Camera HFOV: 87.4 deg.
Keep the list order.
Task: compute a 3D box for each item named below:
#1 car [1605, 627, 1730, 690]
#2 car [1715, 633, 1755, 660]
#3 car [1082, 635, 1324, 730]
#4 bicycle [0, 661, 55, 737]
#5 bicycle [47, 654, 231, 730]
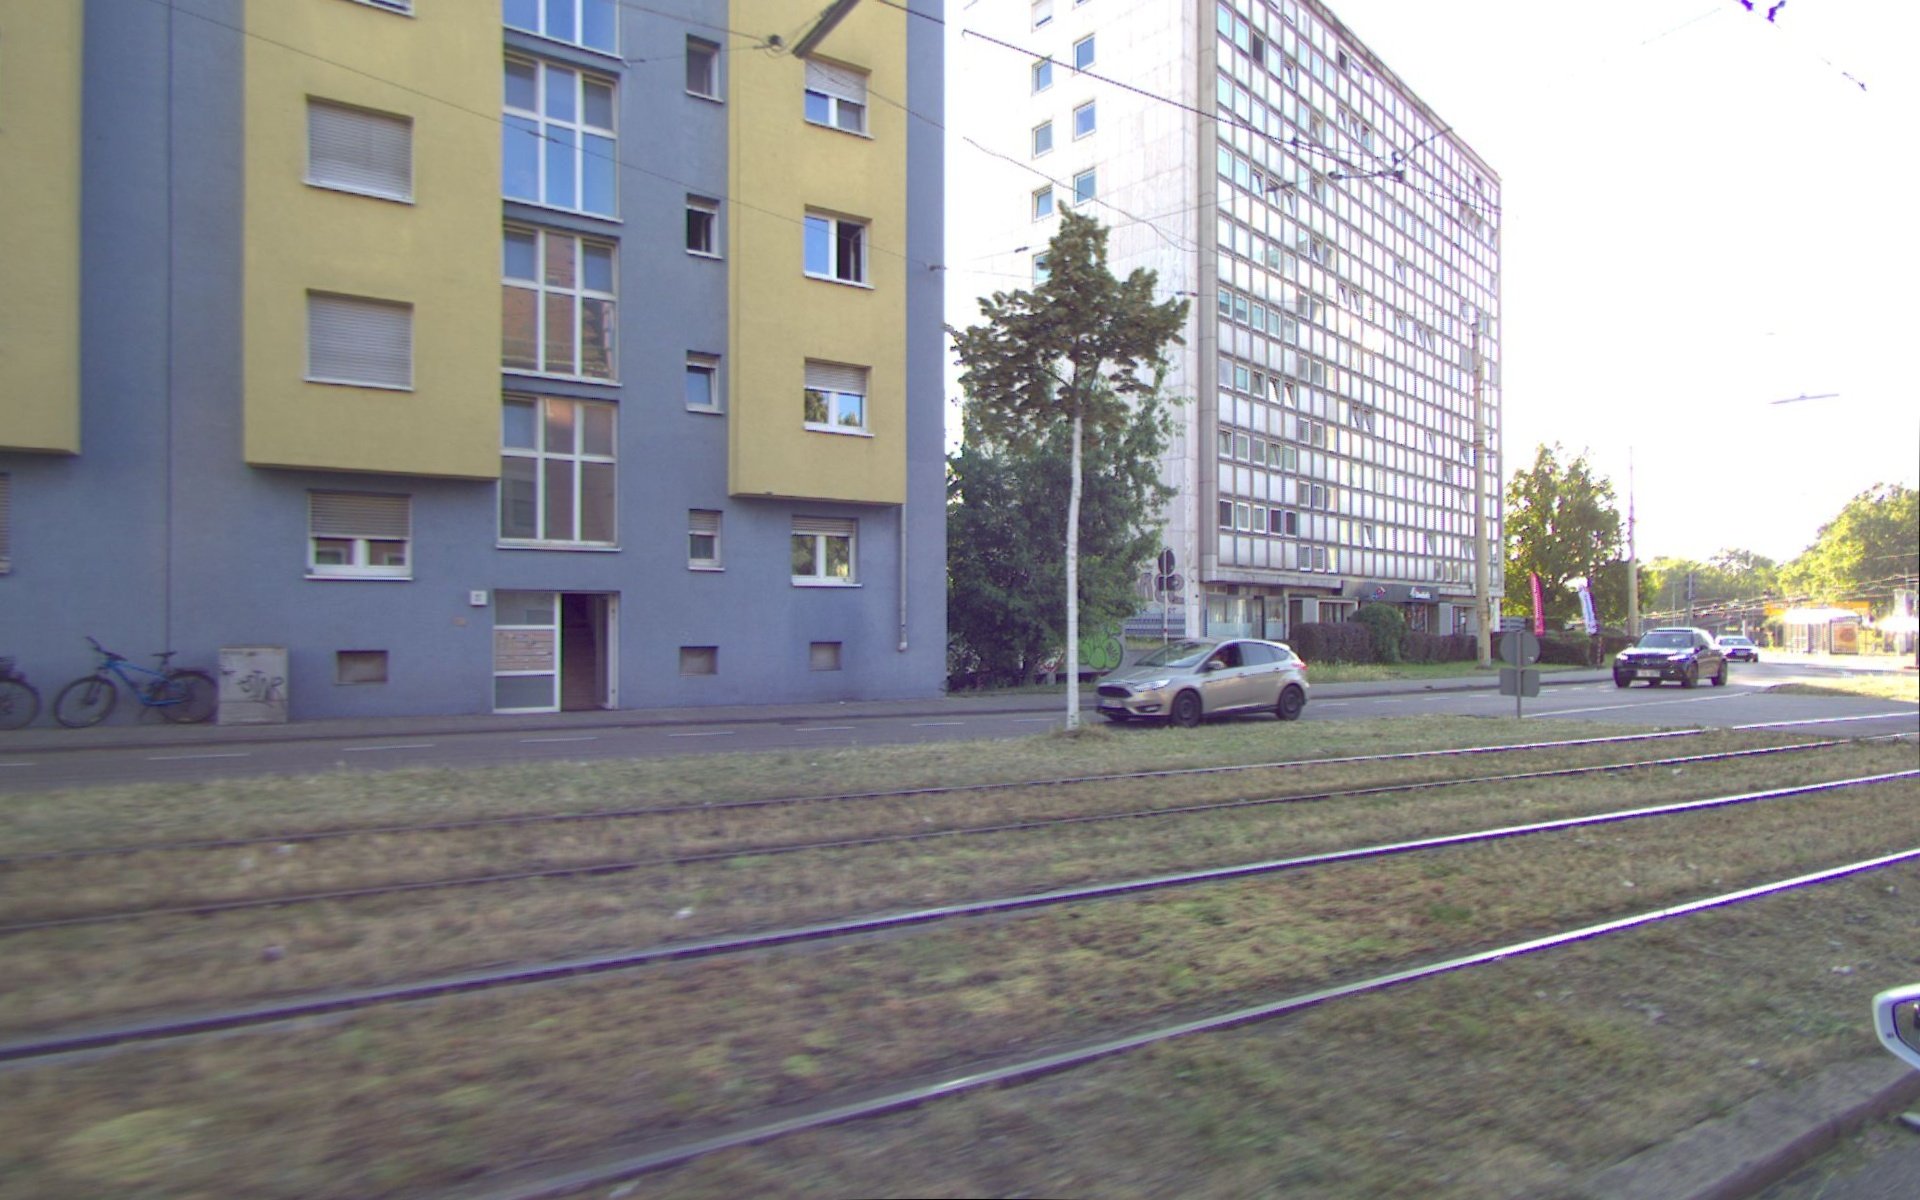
[{"bbox_3d":[20.743,1.654,29.388,4.671,1.683,1.902,1,-3,-41],"label":"car"},{"bbox_3d":[45.468,2.730,58.958,1.754,1.501,4.383,-4,-4,37],"label":"car"},{"bbox_3d":[4.315,1.398,17.596,4.271,1.479,1.687,2,-4,-34],"label":"car"},{"bbox_3d":[-12.857,1.269,12.819,1.889,0.937,0.425,1,2,-30],"label":"bicycle"},{"bbox_3d":[-11.204,1.235,13.785,1.889,0.972,0.425,1,-2,-30],"label":"bicycle"}]
